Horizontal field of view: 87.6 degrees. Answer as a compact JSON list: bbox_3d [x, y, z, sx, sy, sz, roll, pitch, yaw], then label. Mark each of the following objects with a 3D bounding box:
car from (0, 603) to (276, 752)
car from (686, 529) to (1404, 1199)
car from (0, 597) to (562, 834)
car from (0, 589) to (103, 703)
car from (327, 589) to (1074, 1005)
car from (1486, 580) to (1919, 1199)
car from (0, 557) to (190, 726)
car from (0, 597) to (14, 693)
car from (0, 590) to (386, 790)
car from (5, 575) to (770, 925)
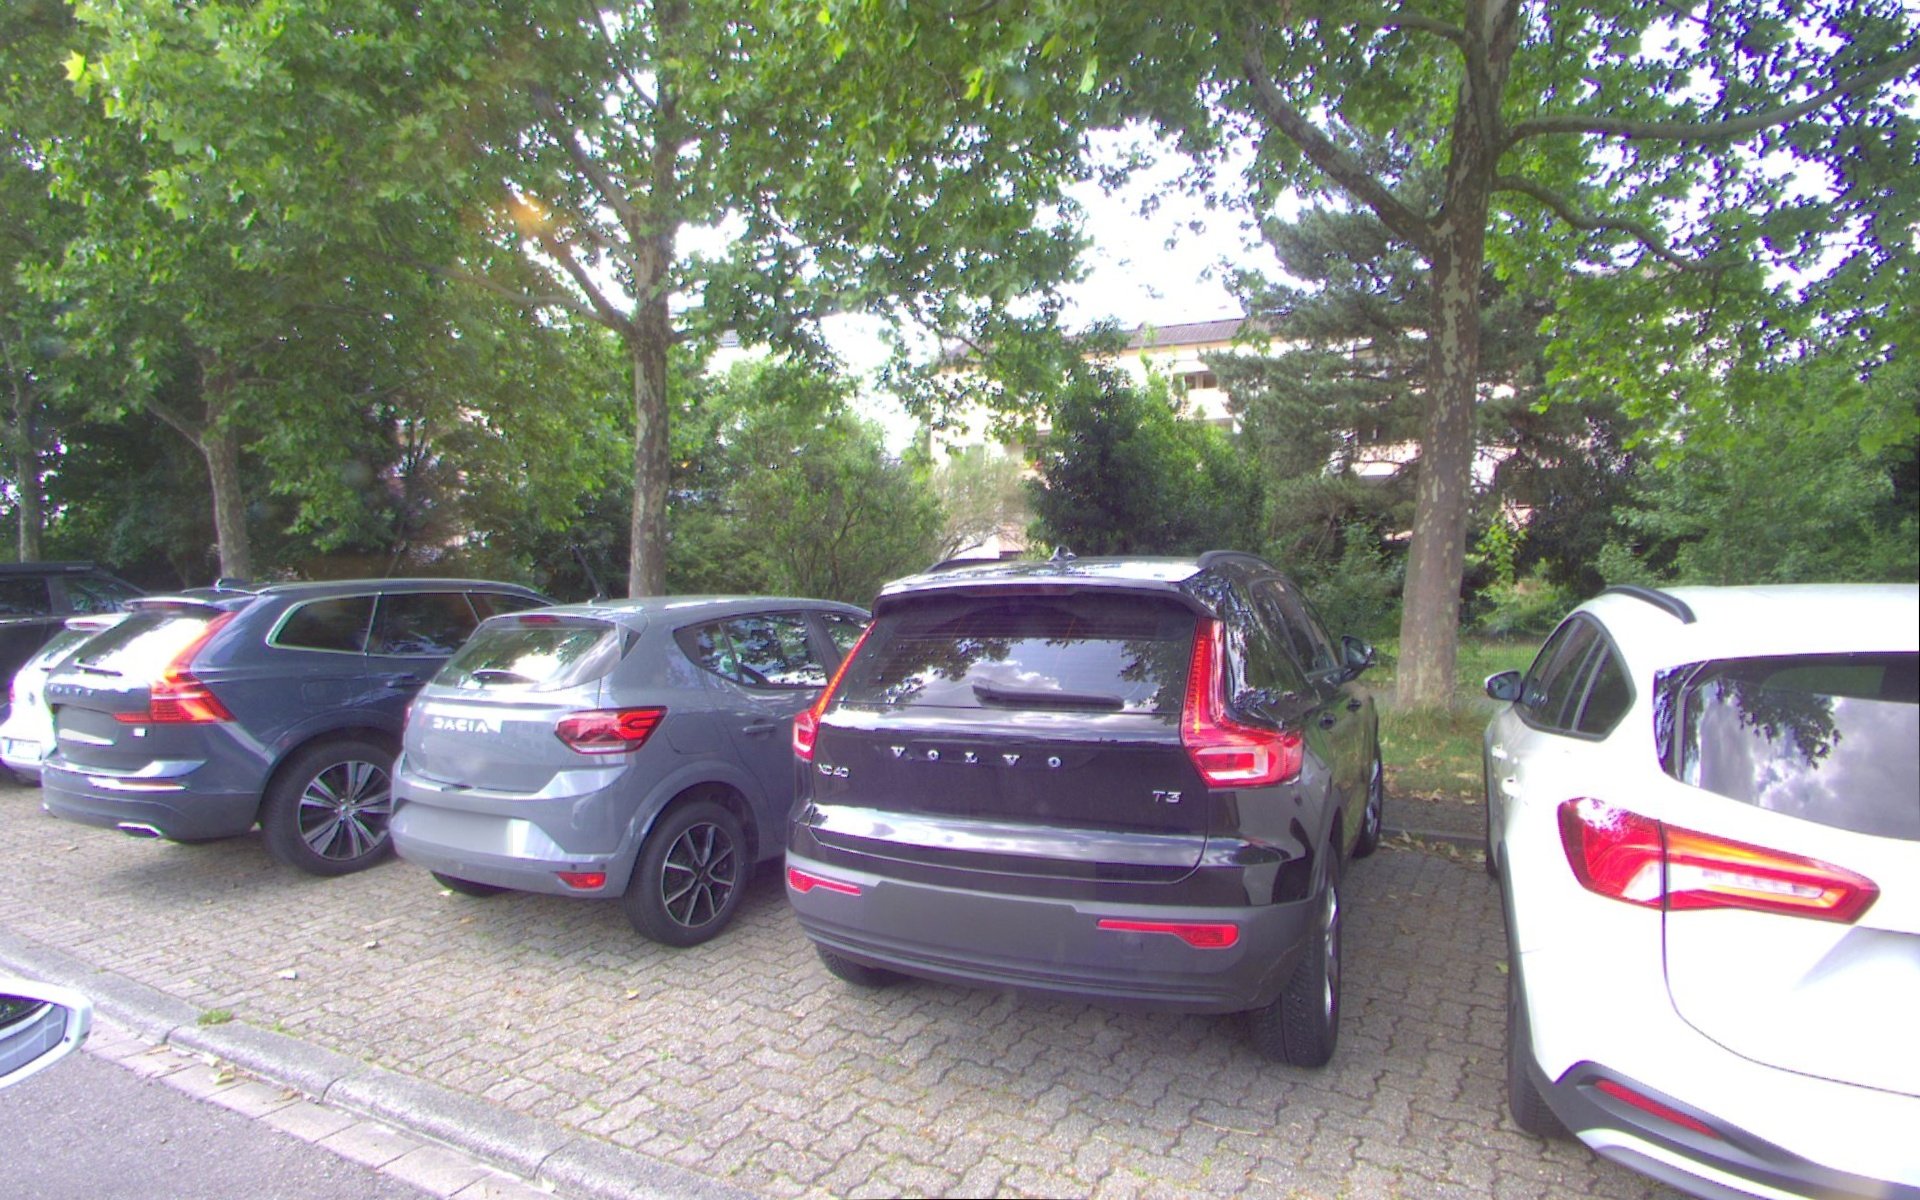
[{"bbox_3d":[-10.446,0.836,11.446,1.730,1.514,3.959,-1,1,30],"label":"car"},{"bbox_3d":[1.007,0.626,4.800,1.818,1.648,4.654,0,1,27],"label":"car"},{"bbox_3d":[-5.743,0.769,8.774,1.730,1.514,3.959,0,1,30],"label":"car"},{"bbox_3d":[-16.322,0.747,15.290,1.828,1.790,4.538,0,1,30],"label":"car"},{"bbox_3d":[-1.045,0.718,6.047,1.731,1.521,4.370,0,1,32],"label":"car"},{"bbox_3d":[2.934,0.682,3.533,1.818,1.493,4.654,0,1,27],"label":"car"},{"bbox_3d":[-13.133,0.537,13.050,1.828,2.152,4.538,0,1,30],"label":"car"},{"bbox_3d":[-18.687,0.837,16.193,1.826,1.683,4.543,0,1,26],"label":"car"},{"bbox_3d":[-8.137,0.733,10.004,1.725,1.627,3.969,0,1,20],"label":"car"},{"bbox_3d":[-3.504,0.681,7.061,1.731,1.661,4.370,0,1,32],"label":"car"}]
